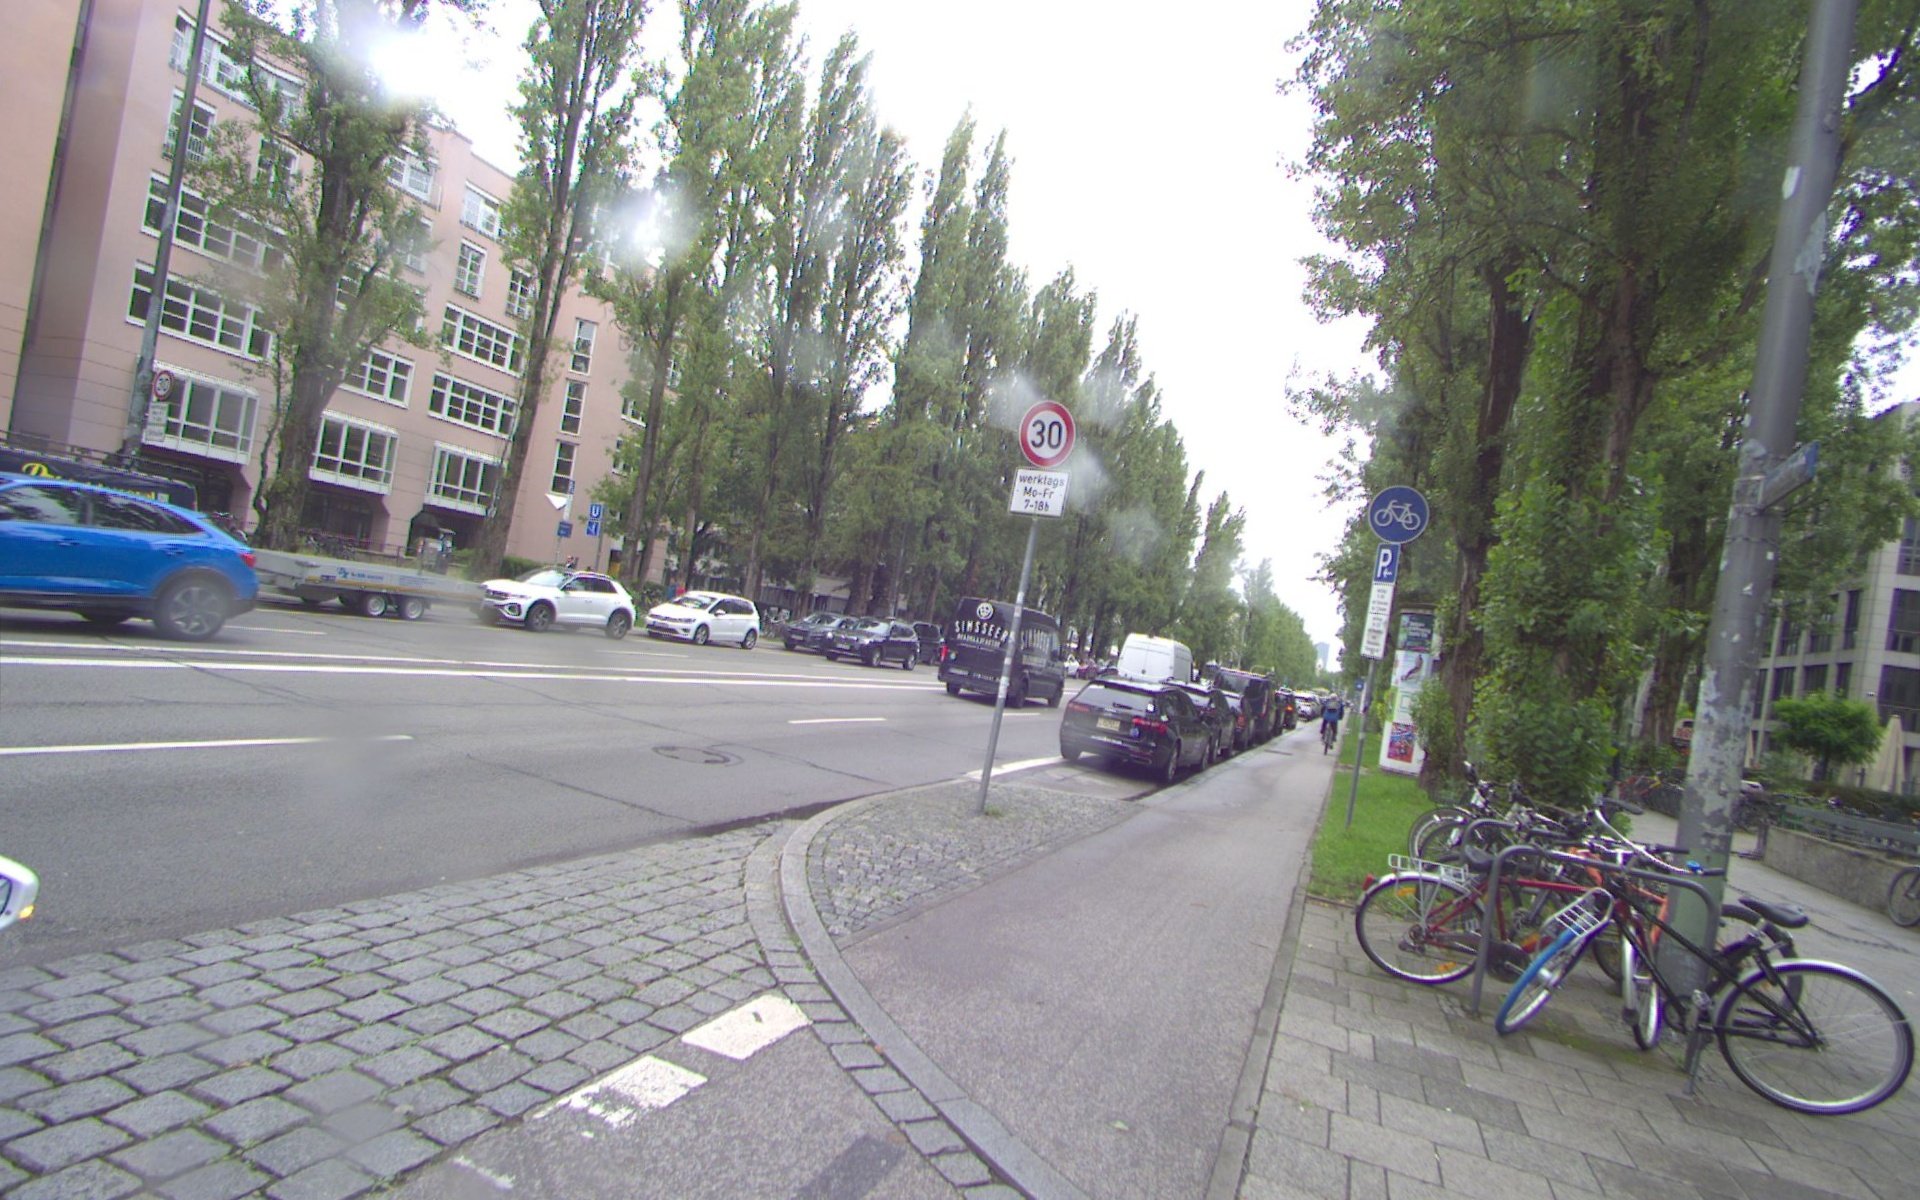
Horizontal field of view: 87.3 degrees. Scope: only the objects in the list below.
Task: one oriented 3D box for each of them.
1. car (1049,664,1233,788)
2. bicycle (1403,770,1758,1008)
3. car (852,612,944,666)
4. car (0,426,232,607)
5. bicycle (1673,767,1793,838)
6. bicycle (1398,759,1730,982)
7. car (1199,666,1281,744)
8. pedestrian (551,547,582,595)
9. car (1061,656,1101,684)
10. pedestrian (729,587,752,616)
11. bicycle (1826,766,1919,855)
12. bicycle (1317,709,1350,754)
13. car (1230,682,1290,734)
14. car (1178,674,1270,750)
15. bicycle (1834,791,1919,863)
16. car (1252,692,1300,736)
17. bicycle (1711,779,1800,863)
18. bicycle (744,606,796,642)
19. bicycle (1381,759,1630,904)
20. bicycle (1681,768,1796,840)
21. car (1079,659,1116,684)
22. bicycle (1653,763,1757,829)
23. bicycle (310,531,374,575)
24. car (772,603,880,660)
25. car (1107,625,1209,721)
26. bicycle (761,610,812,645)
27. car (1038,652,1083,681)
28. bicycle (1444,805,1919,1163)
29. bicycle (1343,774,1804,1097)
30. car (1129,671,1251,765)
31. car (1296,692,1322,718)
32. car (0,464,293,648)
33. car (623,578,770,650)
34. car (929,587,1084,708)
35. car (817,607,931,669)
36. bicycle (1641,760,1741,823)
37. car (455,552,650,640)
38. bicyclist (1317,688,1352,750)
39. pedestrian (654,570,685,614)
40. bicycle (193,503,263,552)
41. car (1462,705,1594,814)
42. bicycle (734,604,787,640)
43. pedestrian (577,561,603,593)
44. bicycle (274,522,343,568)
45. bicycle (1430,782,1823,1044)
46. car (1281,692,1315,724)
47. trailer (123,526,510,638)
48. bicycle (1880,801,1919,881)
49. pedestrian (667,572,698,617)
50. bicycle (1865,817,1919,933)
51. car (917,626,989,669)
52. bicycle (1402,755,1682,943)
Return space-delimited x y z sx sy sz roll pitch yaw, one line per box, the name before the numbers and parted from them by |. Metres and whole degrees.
car | 3.147 2.048 16.623 1.725 1.443 4.450 11 -2 25
bicycle | 4.020 1.849 6.679 1.842 1.062 0.476 8 -1 23
car | -2.603 1.745 43.818 1.963 1.817 4.766 9 -2 21
car | -14.061 -1.391 14.362 1.986 2.221 5.501 9 -2 22
bicycle | 17.983 4.698 23.449 1.995 1.173 0.588 9 -1 24
bicycle | 4.322 1.916 7.362 1.895 1.118 0.513 8 -1 22
car | 9.085 3.354 32.332 1.881 1.945 5.045 11 -1 20
pedestrian | -14.413 -1.070 36.815 0.551 1.623 0.656 9 -1 42
car | 8.777 5.052 72.582 1.735 1.596 3.976 9 -2 22
pedestrian | -13.987 0.076 64.032 0.802 1.681 0.898 9 -1 23
bicycle | 15.157 3.444 16.631 0.577 1.173 1.871 9 -2 23
bicycle | 10.641 3.733 28.622 0.706 1.160 1.902 6 -4 23
car | 11.312 4.031 37.806 1.716 1.543 3.955 11 -1 20
car | 7.164 2.974 27.026 1.716 1.543 4.239 11 -1 21
bicycle | 19.932 4.886 21.693 0.577 1.173 1.871 9 -1 8
car | 14.785 5.285 46.950 1.716 1.608 3.955 11 -1 20
bicycle | 14.118 3.889 17.908 0.577 1.173 1.986 9 -2 23
bicycle | -7.886 1.004 41.722 1.953 1.137 0.676 9 0 23
bicycle | 4.758 2.004 8.893 1.801 0.827 0.472 8 -1 27
bicycle | 17.645 4.614 22.852 1.835 1.173 0.588 9 -1 24
car | 10.669 5.545 77.838 1.735 1.597 3.973 9 -1 22
bicycle | 18.545 4.862 25.084 1.835 1.173 0.588 10 0 24
bicycle | -20.552 -1.555 33.431 1.953 1.137 0.676 9 0 23
car | -4.984 1.237 37.967 1.963 1.559 4.328 9 -2 23
car | 6.961 2.570 34.728 2.009 2.682 6.046 11 -1 22
bicycle | -7.378 1.173 42.830 1.953 1.137 0.676 9 0 23
car | 6.739 4.462 67.208 1.735 1.597 3.973 9 -1 22
bicycle | 3.309 1.671 4.549 1.841 1.062 0.476 9 -1 16
bicycle | 3.058 1.648 5.222 1.842 1.062 0.476 10 0 23
car | 4.990 2.482 21.462 1.716 1.544 3.911 9 -2 23
car | 28.719 8.624 82.707 1.716 1.807 3.955 11 -1 20
car | -9.740 -0.539 10.325 1.837 1.596 4.426 7 -2 22
car | -7.876 0.486 30.500 1.963 1.559 4.328 9 -2 21
car | 1.442 1.399 27.131 2.044 2.584 5.937 10 -1 21
car | -2.931 1.398 35.377 1.963 1.661 4.554 8 -2 22
bicycle | 18.680 4.890 25.745 1.835 1.173 0.588 9 -1 24
car | -9.811 -0.037 24.571 1.773 1.559 4.236 8 -2 24
bicyclist | 10.716 3.388 28.756 0.711 1.638 0.757 7 -1 24
pedestrian | -12.368 -0.329 42.799 0.696 1.733 0.732 9 -1 23
bicycle | -21.964 -2.180 30.177 1.953 1.137 0.676 9 0 23
car | 13.048 3.573 23.442 1.781 1.917 5.207 9 -2 23
bicycle | -8.141 0.890 41.005 1.953 1.137 0.676 9 0 23
pedestrian | -21.880 -1.334 59.430 0.802 1.681 0.898 9 -1 23
bicycle | -20.958 -1.756 32.364 2.068 1.137 0.676 9 0 23
bicycle | 3.971 1.839 6.164 1.842 1.062 0.476 8 -1 23
car | 21.473 6.825 63.867 1.716 1.661 3.955 11 -1 20
trailer | -12.172 -0.223 19.727 2.361 1.213 6.043 9 -2 23
bicycle | 15.725 3.959 16.223 0.577 1.173 1.871 9 -2 23
pedestrian | -11.702 -0.228 42.478 0.696 1.733 0.732 9 -1 23
bicycle | 10.987 3.150 11.062 0.576 1.173 1.872 9 -2 13
car | -0.285 2.336 48.919 1.963 1.624 4.357 9 -2 19
bicycle | 4.647 1.963 8.169 1.801 1.050 0.513 8 -1 27
